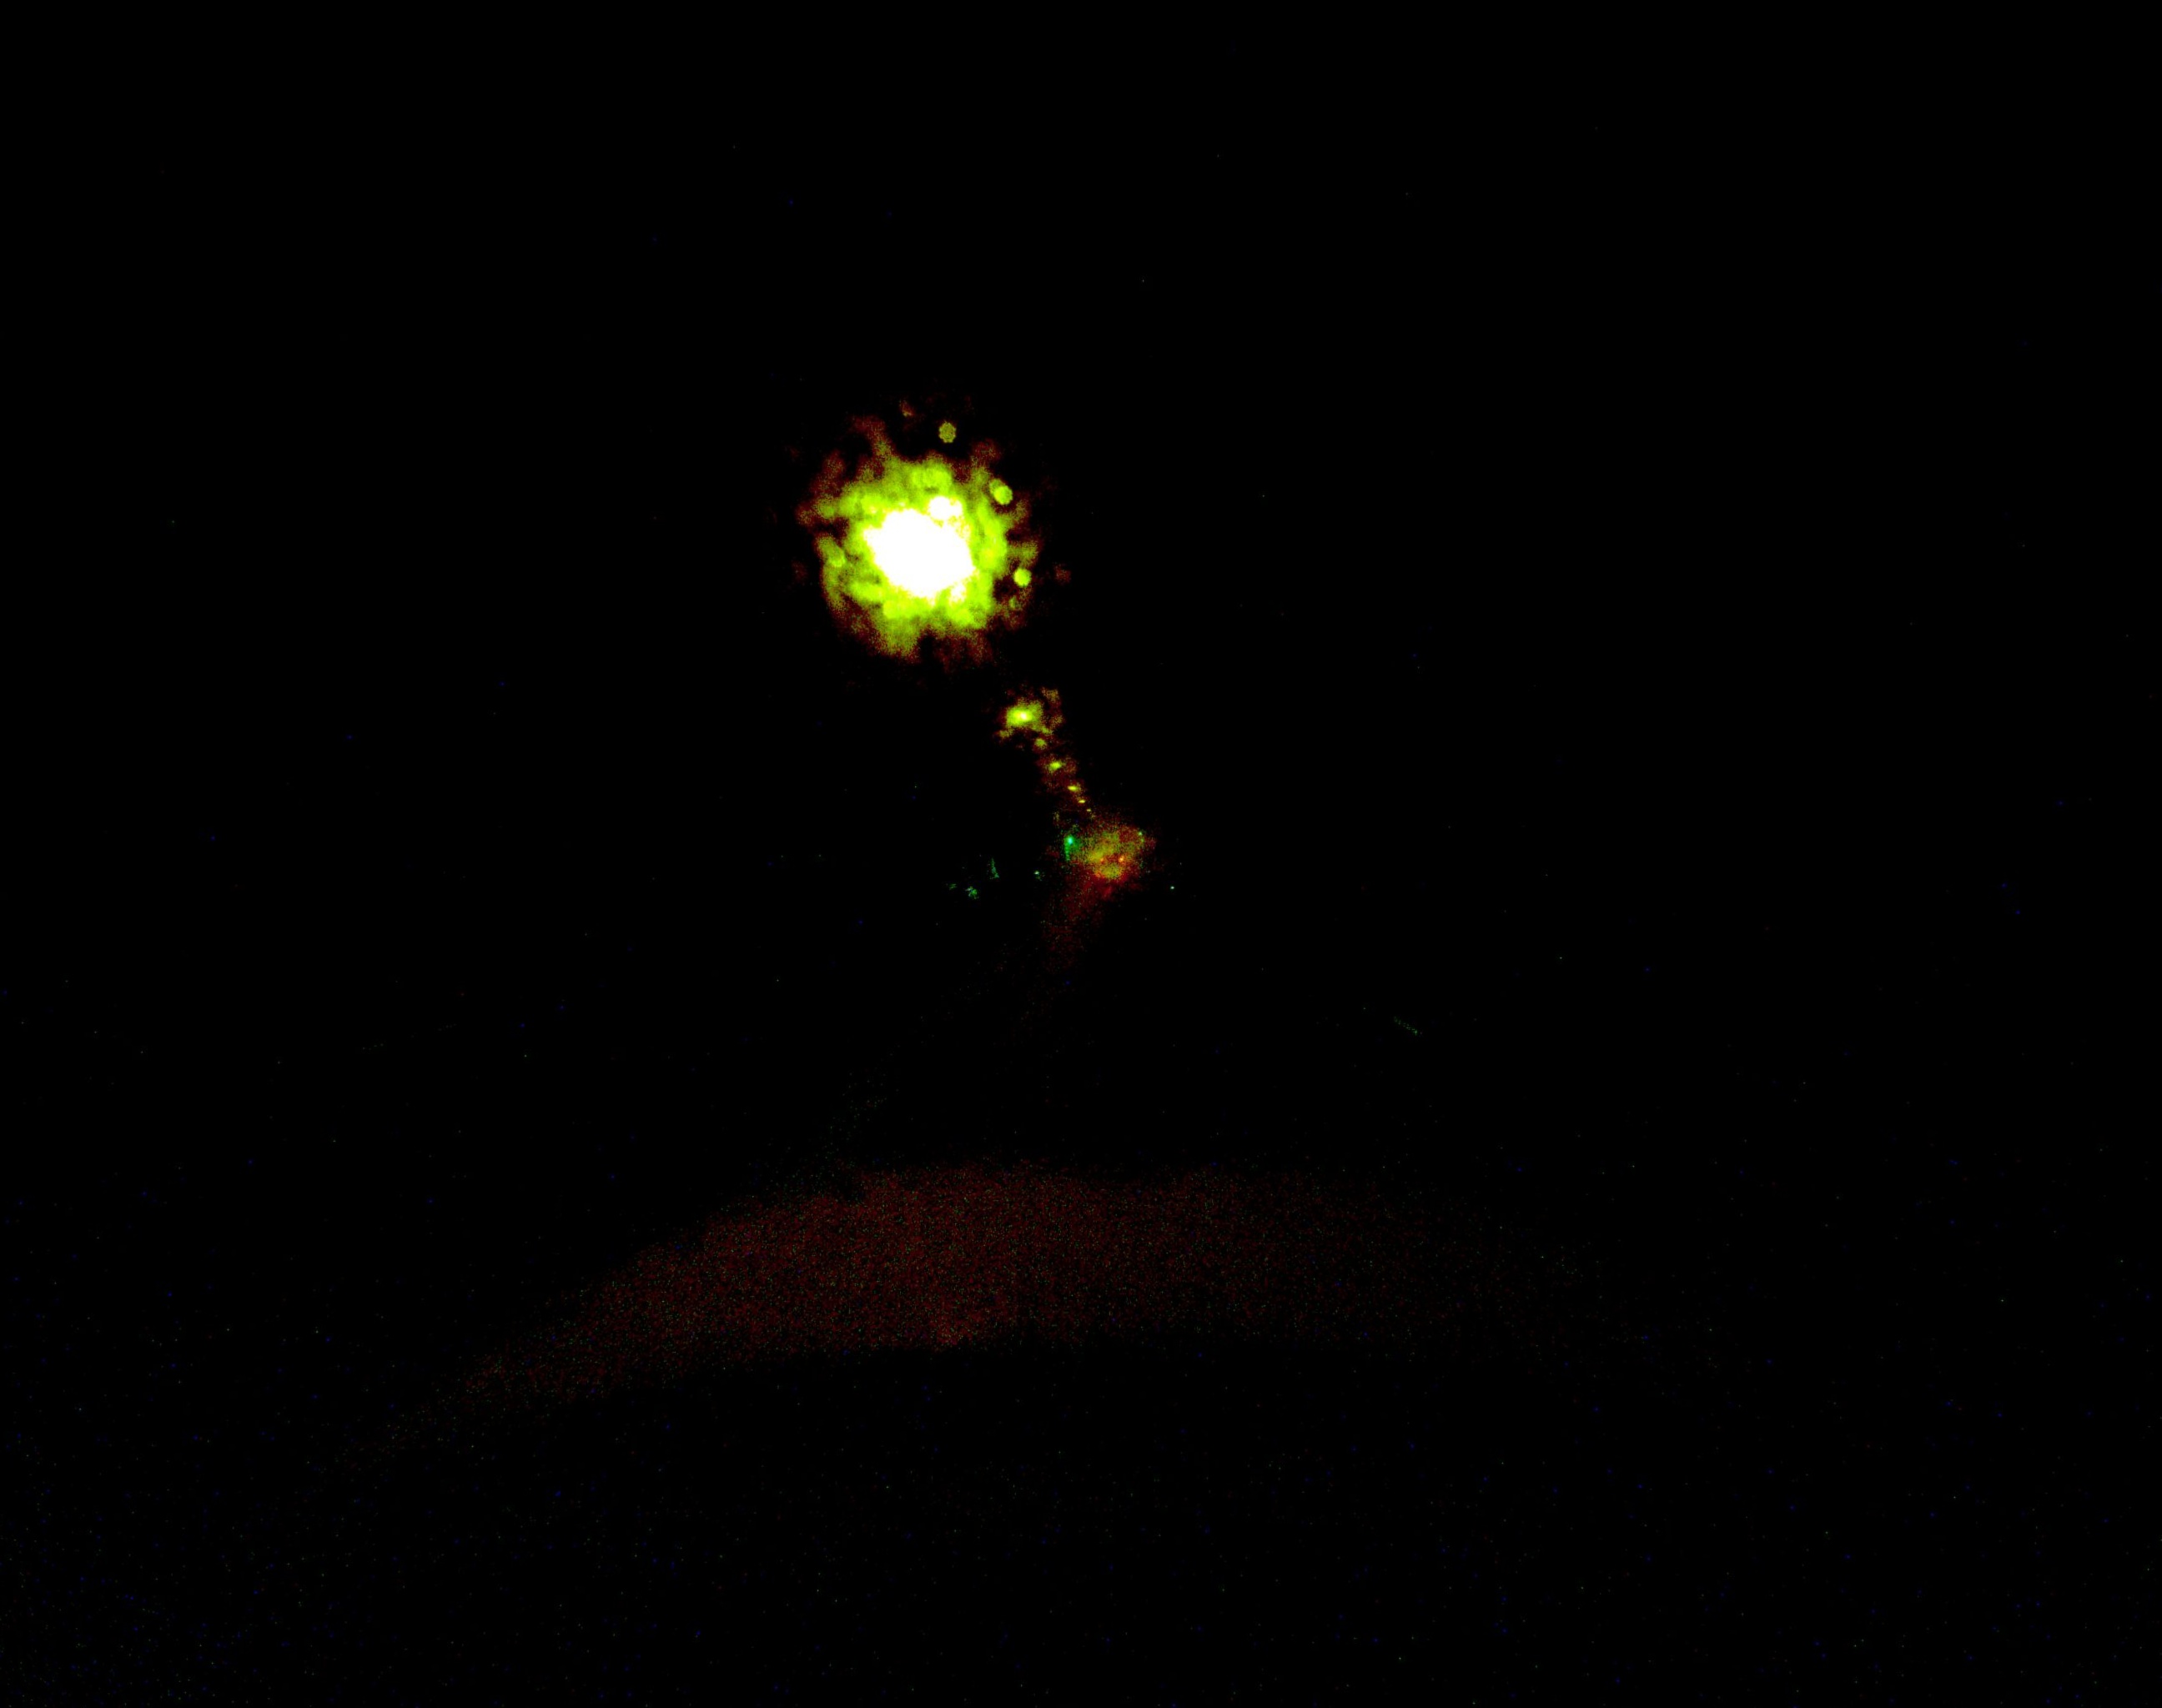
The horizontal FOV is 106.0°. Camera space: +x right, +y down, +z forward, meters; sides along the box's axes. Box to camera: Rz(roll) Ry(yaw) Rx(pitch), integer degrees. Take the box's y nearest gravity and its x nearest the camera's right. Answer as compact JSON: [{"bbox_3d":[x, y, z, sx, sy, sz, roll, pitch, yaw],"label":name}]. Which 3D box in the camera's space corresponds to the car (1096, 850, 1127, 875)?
[{"bbox_3d":[2.121,0.583,57.467,2.082,1.662,4.002,-1,0,2],"label":"car"}]
